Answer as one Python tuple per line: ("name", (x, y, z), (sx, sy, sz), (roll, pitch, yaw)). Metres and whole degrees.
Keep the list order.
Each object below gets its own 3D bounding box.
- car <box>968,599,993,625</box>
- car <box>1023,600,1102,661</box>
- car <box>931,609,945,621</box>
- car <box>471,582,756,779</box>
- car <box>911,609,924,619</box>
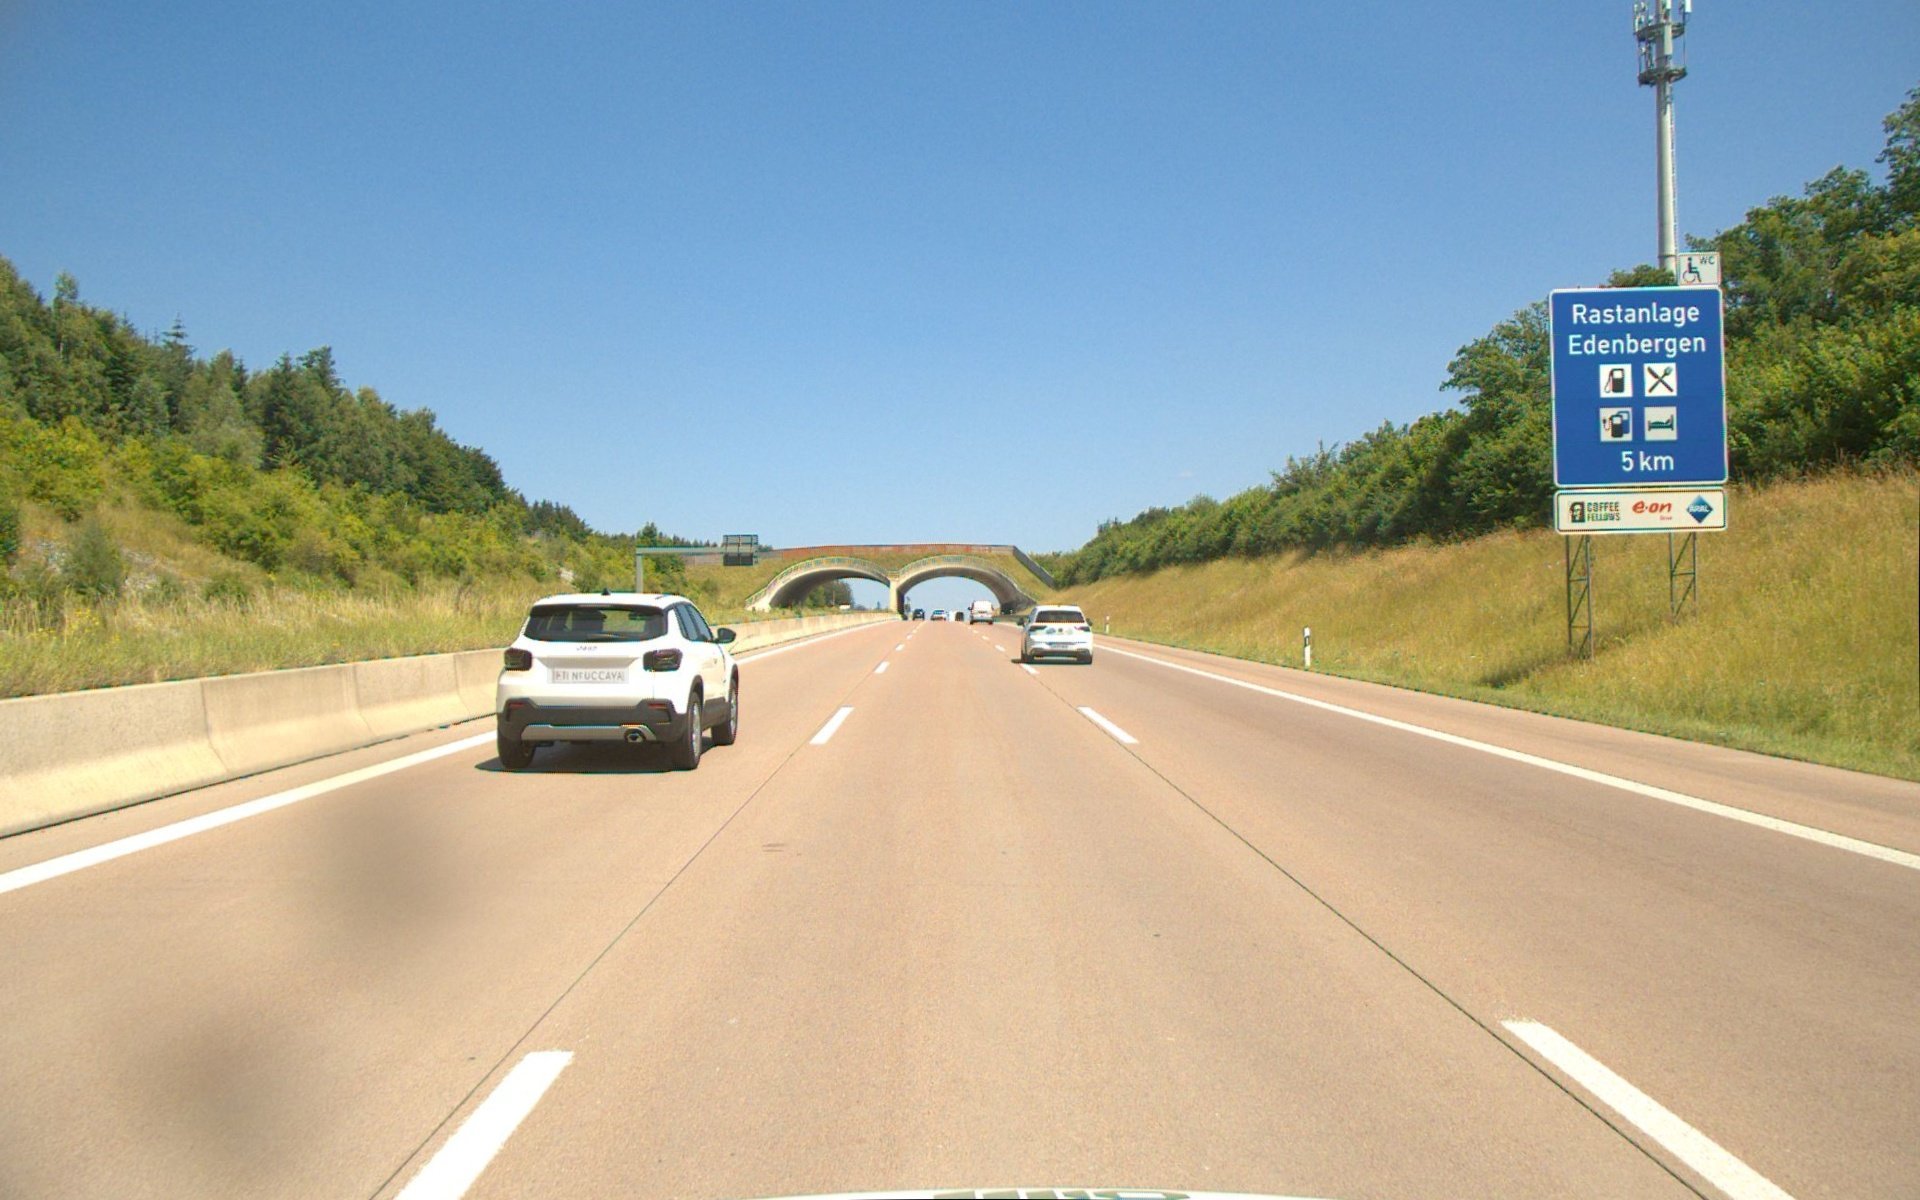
("car", (1.706, 0.979, 136.767), (2.067, 2.089, 4.001), (0, 1, 1))
("car", (2.609, 0.759, 42.816), (1.852, 1.422, 4.001), (1, 0, 1))
("car", (-2.982, 2.086, 227.502), (1.852, 1.489, 4.000), (1, 0, -1))
("car", (-3.196, 0.670, 16.244), (1.841, 1.635, 4.833), (0, 0, -1))
("car", (-6.708, 2.285, 262.447), (1.852, 1.489, 4.001), (0, 1, 1))
